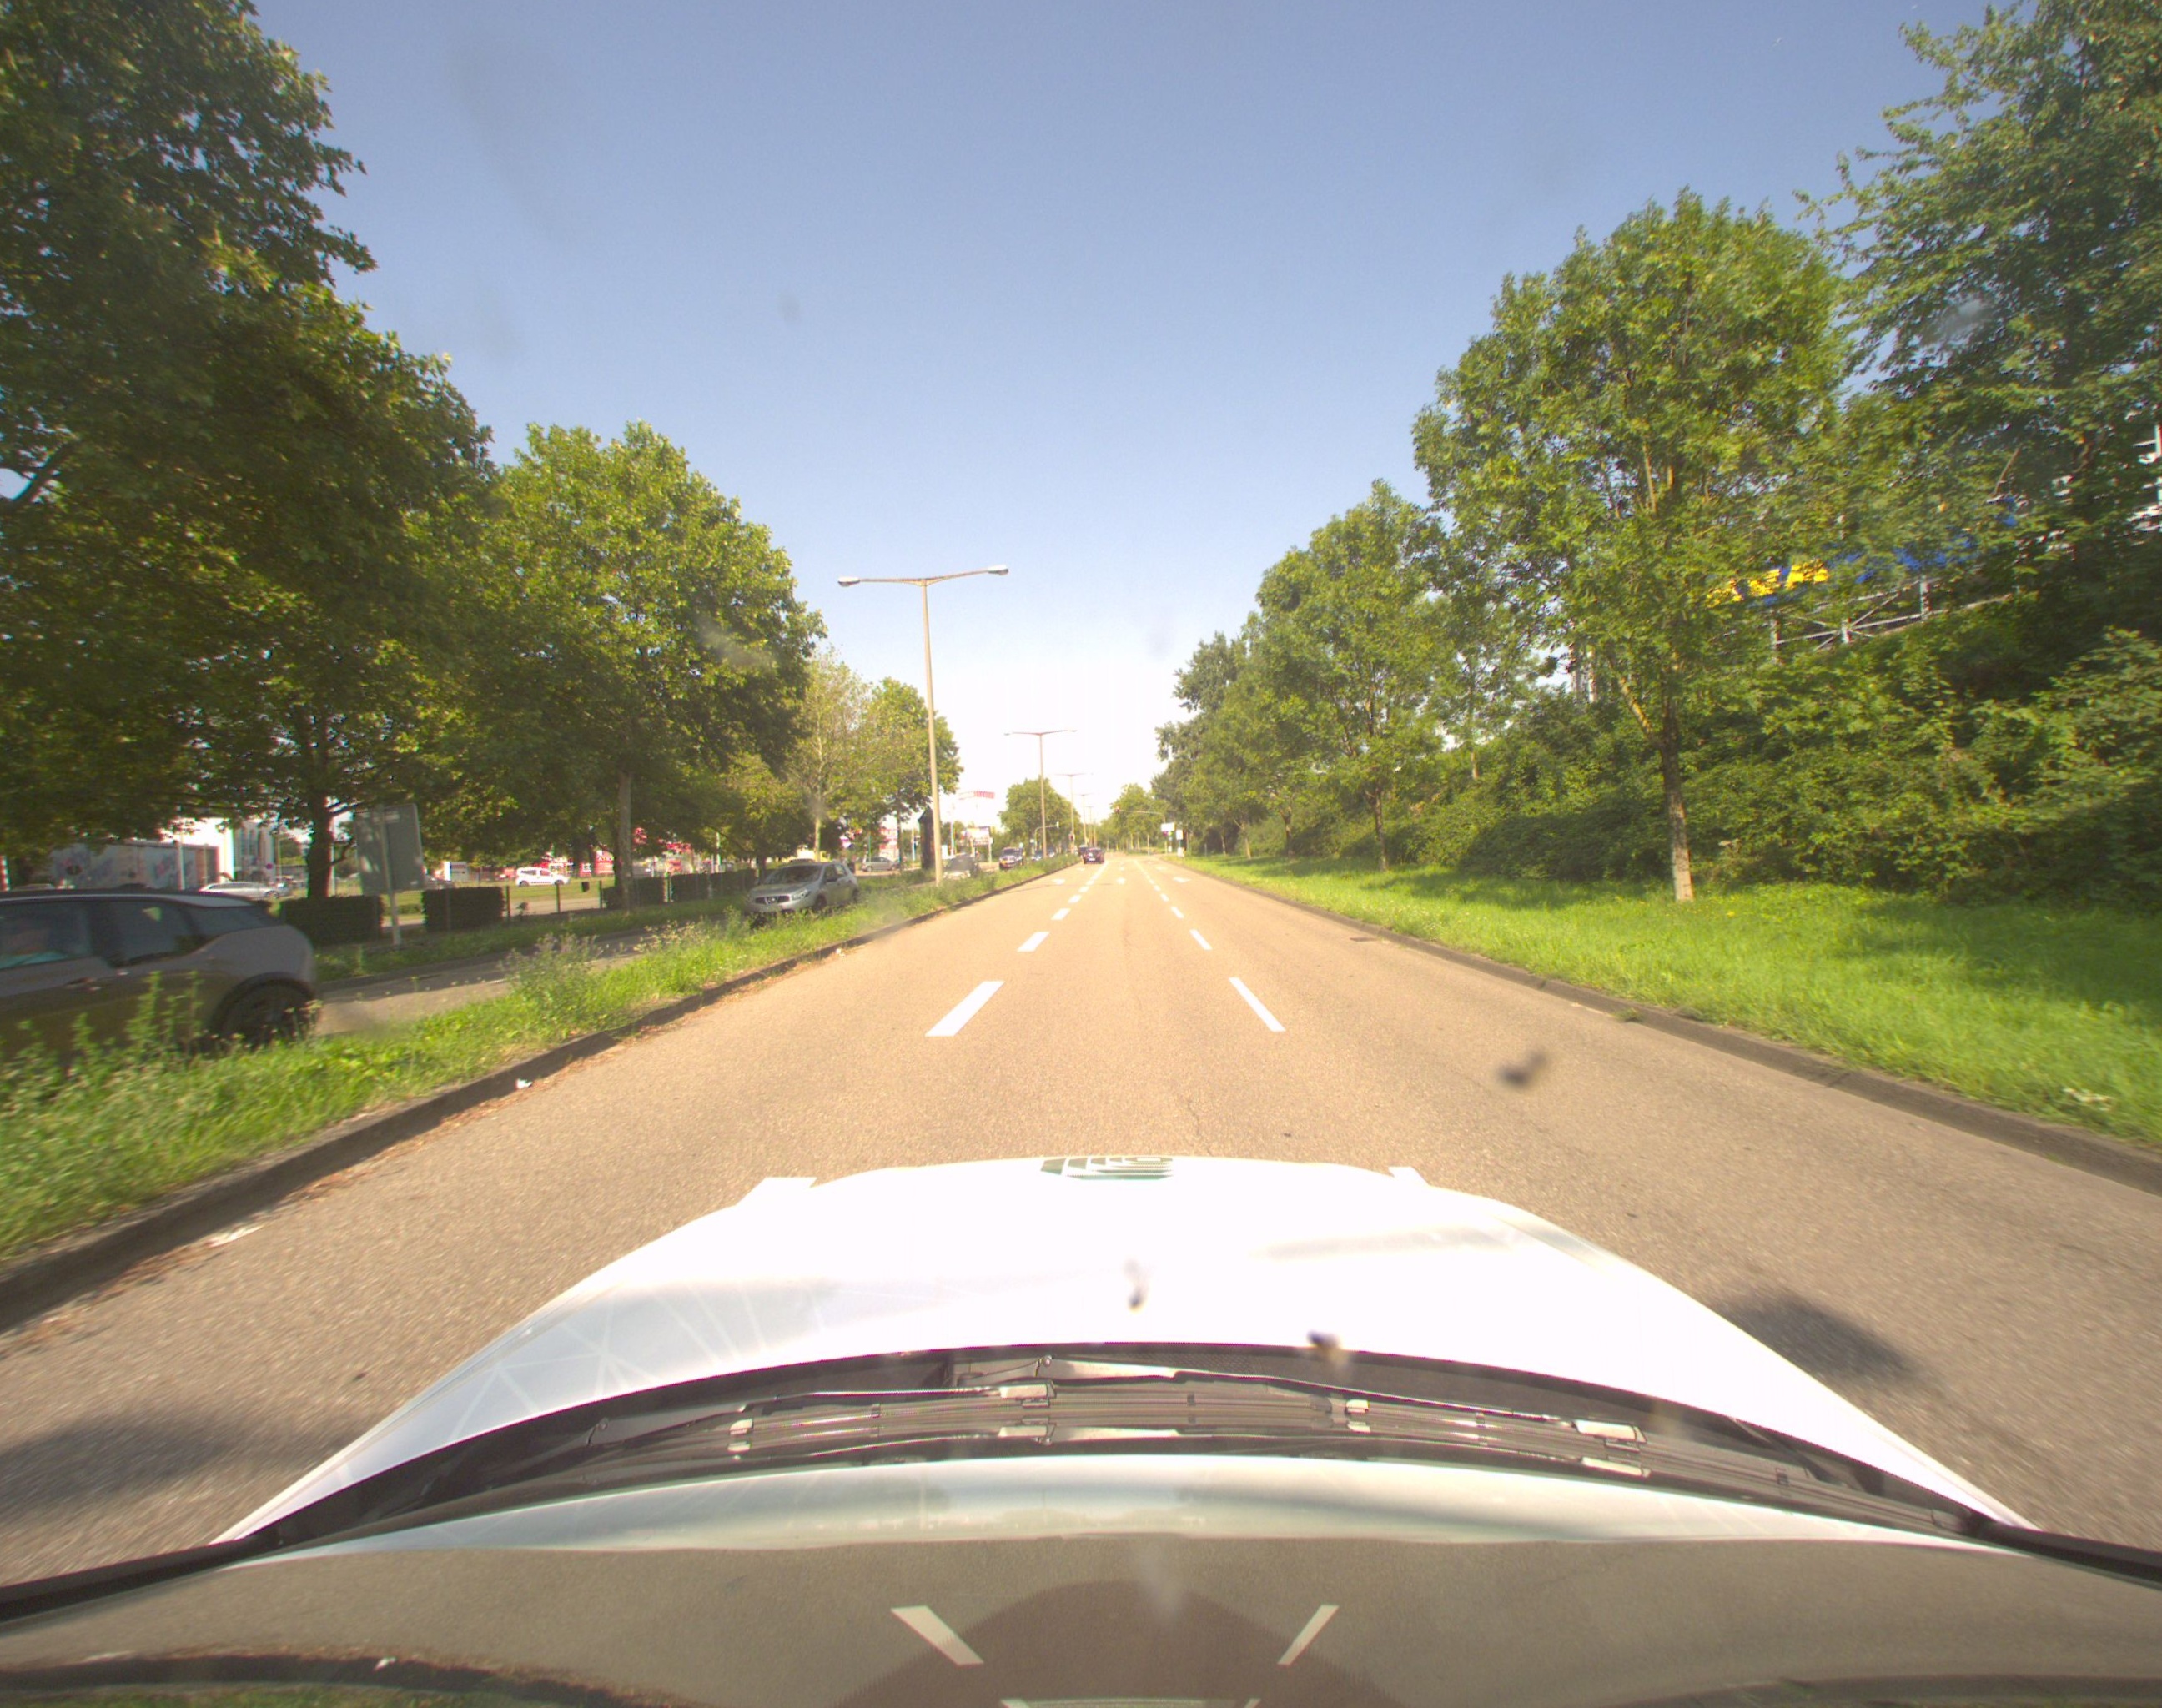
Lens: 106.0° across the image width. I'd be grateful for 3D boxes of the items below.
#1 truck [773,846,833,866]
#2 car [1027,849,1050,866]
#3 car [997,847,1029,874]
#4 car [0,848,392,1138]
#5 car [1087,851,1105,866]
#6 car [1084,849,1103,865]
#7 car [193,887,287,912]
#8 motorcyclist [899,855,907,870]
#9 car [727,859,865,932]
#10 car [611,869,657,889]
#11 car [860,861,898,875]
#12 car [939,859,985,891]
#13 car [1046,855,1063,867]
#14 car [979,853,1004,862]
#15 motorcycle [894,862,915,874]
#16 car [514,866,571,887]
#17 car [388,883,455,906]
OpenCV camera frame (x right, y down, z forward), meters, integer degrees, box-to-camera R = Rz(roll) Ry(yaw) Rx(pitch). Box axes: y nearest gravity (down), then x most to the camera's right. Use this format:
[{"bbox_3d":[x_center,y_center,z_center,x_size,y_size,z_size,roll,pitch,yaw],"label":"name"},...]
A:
[{"bbox_3d":[-47.601,0.389,139.469,9.049,2.957,3.478,-3,0,-33],"label":"truck"},{"bbox_3d":[-4.585,0.388,88.572,1.986,1.706,4.506,-4,0,1],"label":"car"},{"bbox_3d":[-5.440,0.486,65.264,1.924,2.027,4.569,-3,0,2],"label":"car"},{"bbox_3d":[-7.573,0.916,5.478,1.986,1.759,4.309,-4,0,2],"label":"car"},{"bbox_3d":[1.639,0.481,86.112,1.685,1.486,4.003,-3,0,3],"label":"car"},{"bbox_3d":[1.215,0.261,79.868,1.685,1.486,4.003,-1,0,3],"label":"car"},{"bbox_3d":[-62.585,3.354,60.721,4.610,1.545,1.849,-2,0,-37],"label":"car"},{"bbox_3d":[-18.944,0.914,86.672,0.686,1.572,0.676,-1,0,-33],"label":"motorcyclist"},{"bbox_3d":[-7.195,0.983,21.067,1.872,1.594,4.111,-3,0,3],"label":"car"},{"bbox_3d":[-40.676,2.285,74.071,3.506,1.580,1.708,-3,0,-34],"label":"car"},{"bbox_3d":[-21.884,1.513,88.118,3.717,1.443,1.451,-2,0,-34],"label":"car"},{"bbox_3d":[-6.023,1.032,41.556,1.670,1.486,3.494,-2,0,2],"label":"car"},{"bbox_3d":[-3.467,0.905,106.758,1.766,1.574,4.003,-2,0,3],"label":"car"},{"bbox_3d":[-13.631,0.587,124.273,3.353,1.137,1.498,-3,0,11],"label":"car"},{"bbox_3d":[-18.767,1.507,86.775,2.084,1.136,0.670,-2,-1,-33],"label":"motorcycle"},{"bbox_3d":[-46.506,1.945,70.412,4.016,1.679,1.850,-2,0,-34],"label":"car"},{"bbox_3d":[-53.843,3.292,66.542,4.015,1.545,1.821,-3,0,-33],"label":"car"}]
